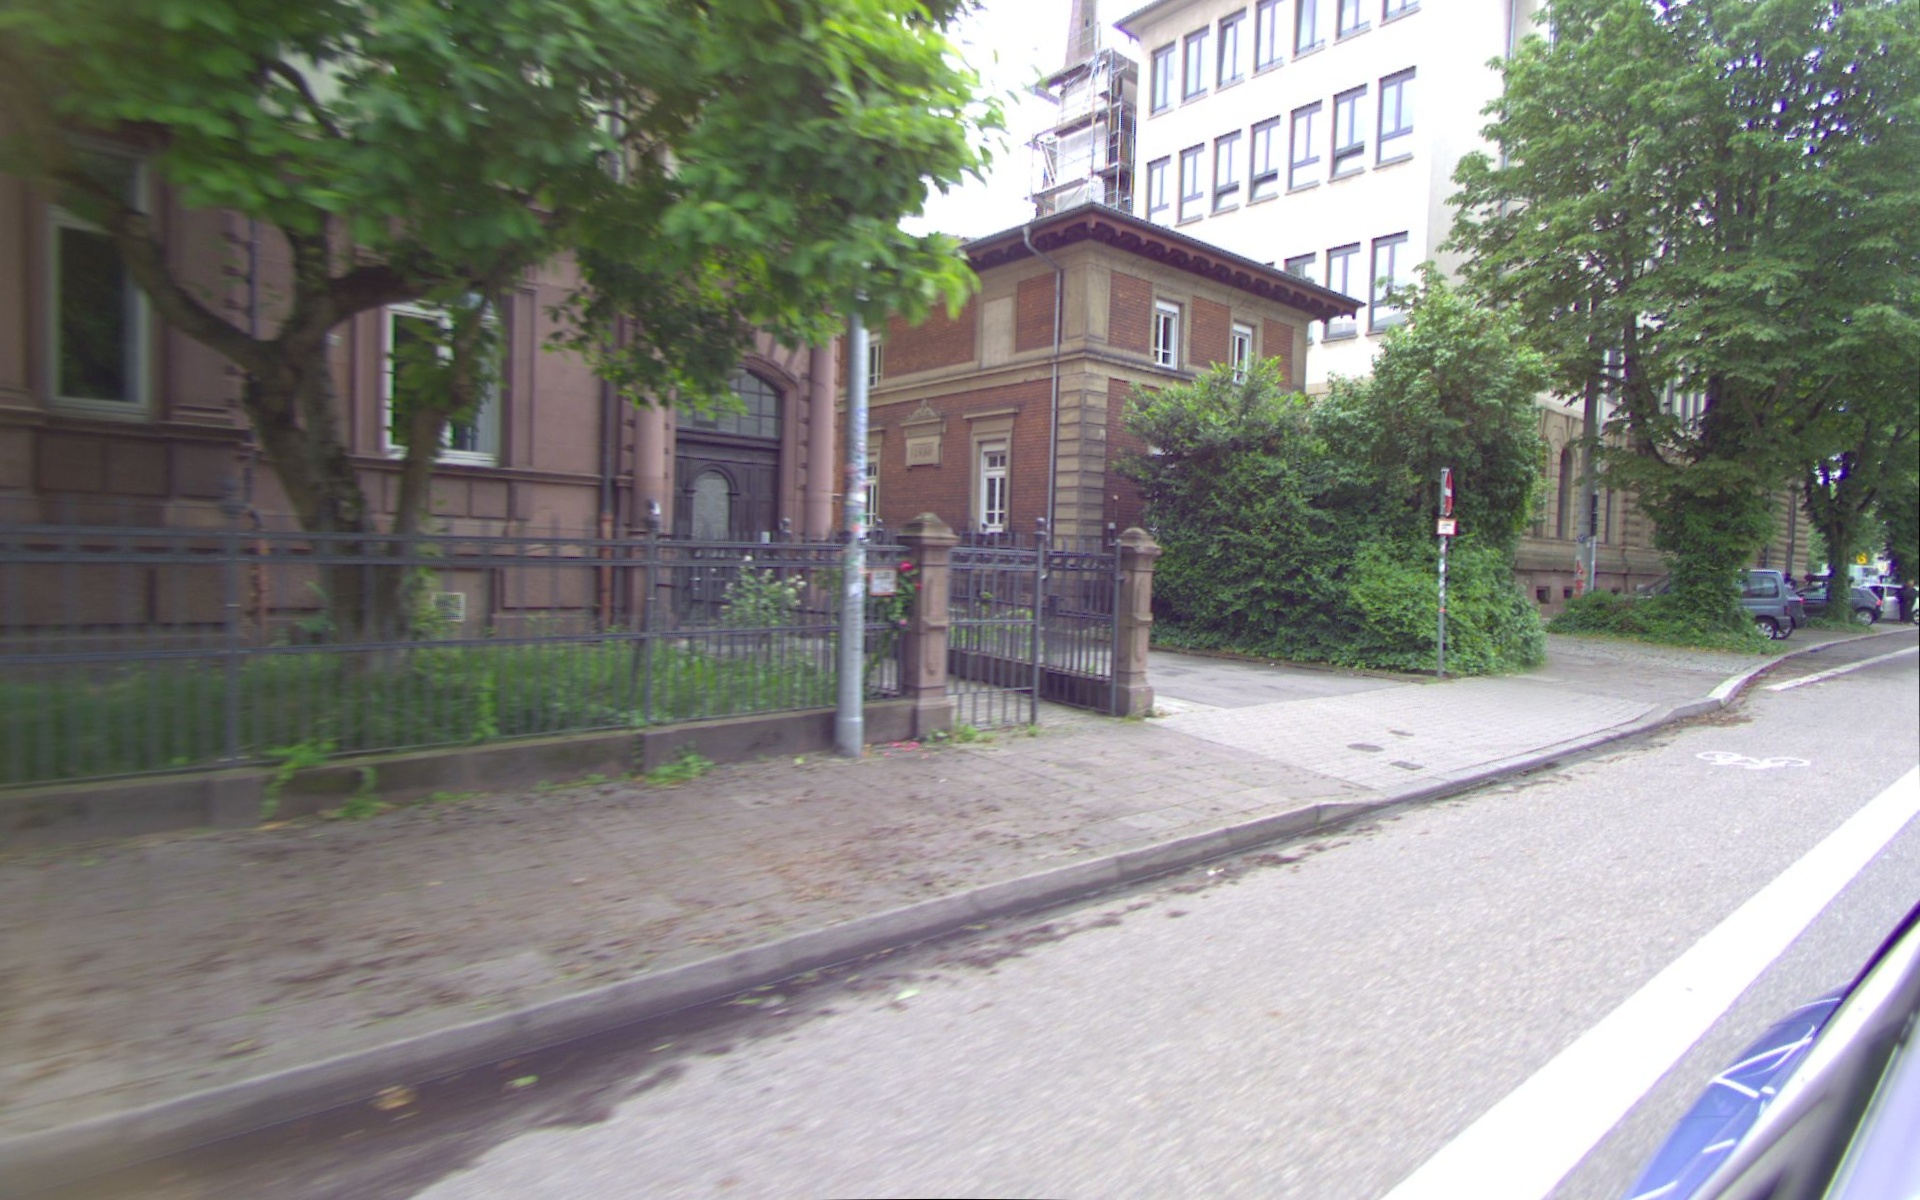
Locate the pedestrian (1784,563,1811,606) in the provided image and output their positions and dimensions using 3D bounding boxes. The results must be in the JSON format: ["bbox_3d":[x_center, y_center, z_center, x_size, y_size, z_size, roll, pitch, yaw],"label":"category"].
[{"bbox_3d":[37.280,-0.678,45.067,0.738,1.860,0.680,0,4,-40],"label":"pedestrian"}]

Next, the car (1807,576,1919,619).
[{"bbox_3d":[37.444,-0.116,41.104,4.287,1.570,1.733,3,2,28],"label":"car"}]

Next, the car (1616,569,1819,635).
[{"bbox_3d":[20.601,0.005,27.709,3.944,1.557,1.856,3,3,16],"label":"car"}]

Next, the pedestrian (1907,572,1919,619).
[{"bbox_3d":[36.995,-0.169,38.976,0.611,1.772,0.677,3,2,36],"label":"pedestrian"}]

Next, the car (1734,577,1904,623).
[{"bbox_3d":[31.006,-0.030,36.685,4.273,1.419,1.745,3,3,18],"label":"car"}]

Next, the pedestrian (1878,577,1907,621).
[{"bbox_3d":[36.456,-0.047,39.587,0.638,1.646,0.586,2,2,27],"label":"pedestrian"}]

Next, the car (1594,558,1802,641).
[{"bbox_3d":[18.566,-0.078,25.661,3.792,1.843,1.796,3,3,20],"label":"car"}]
